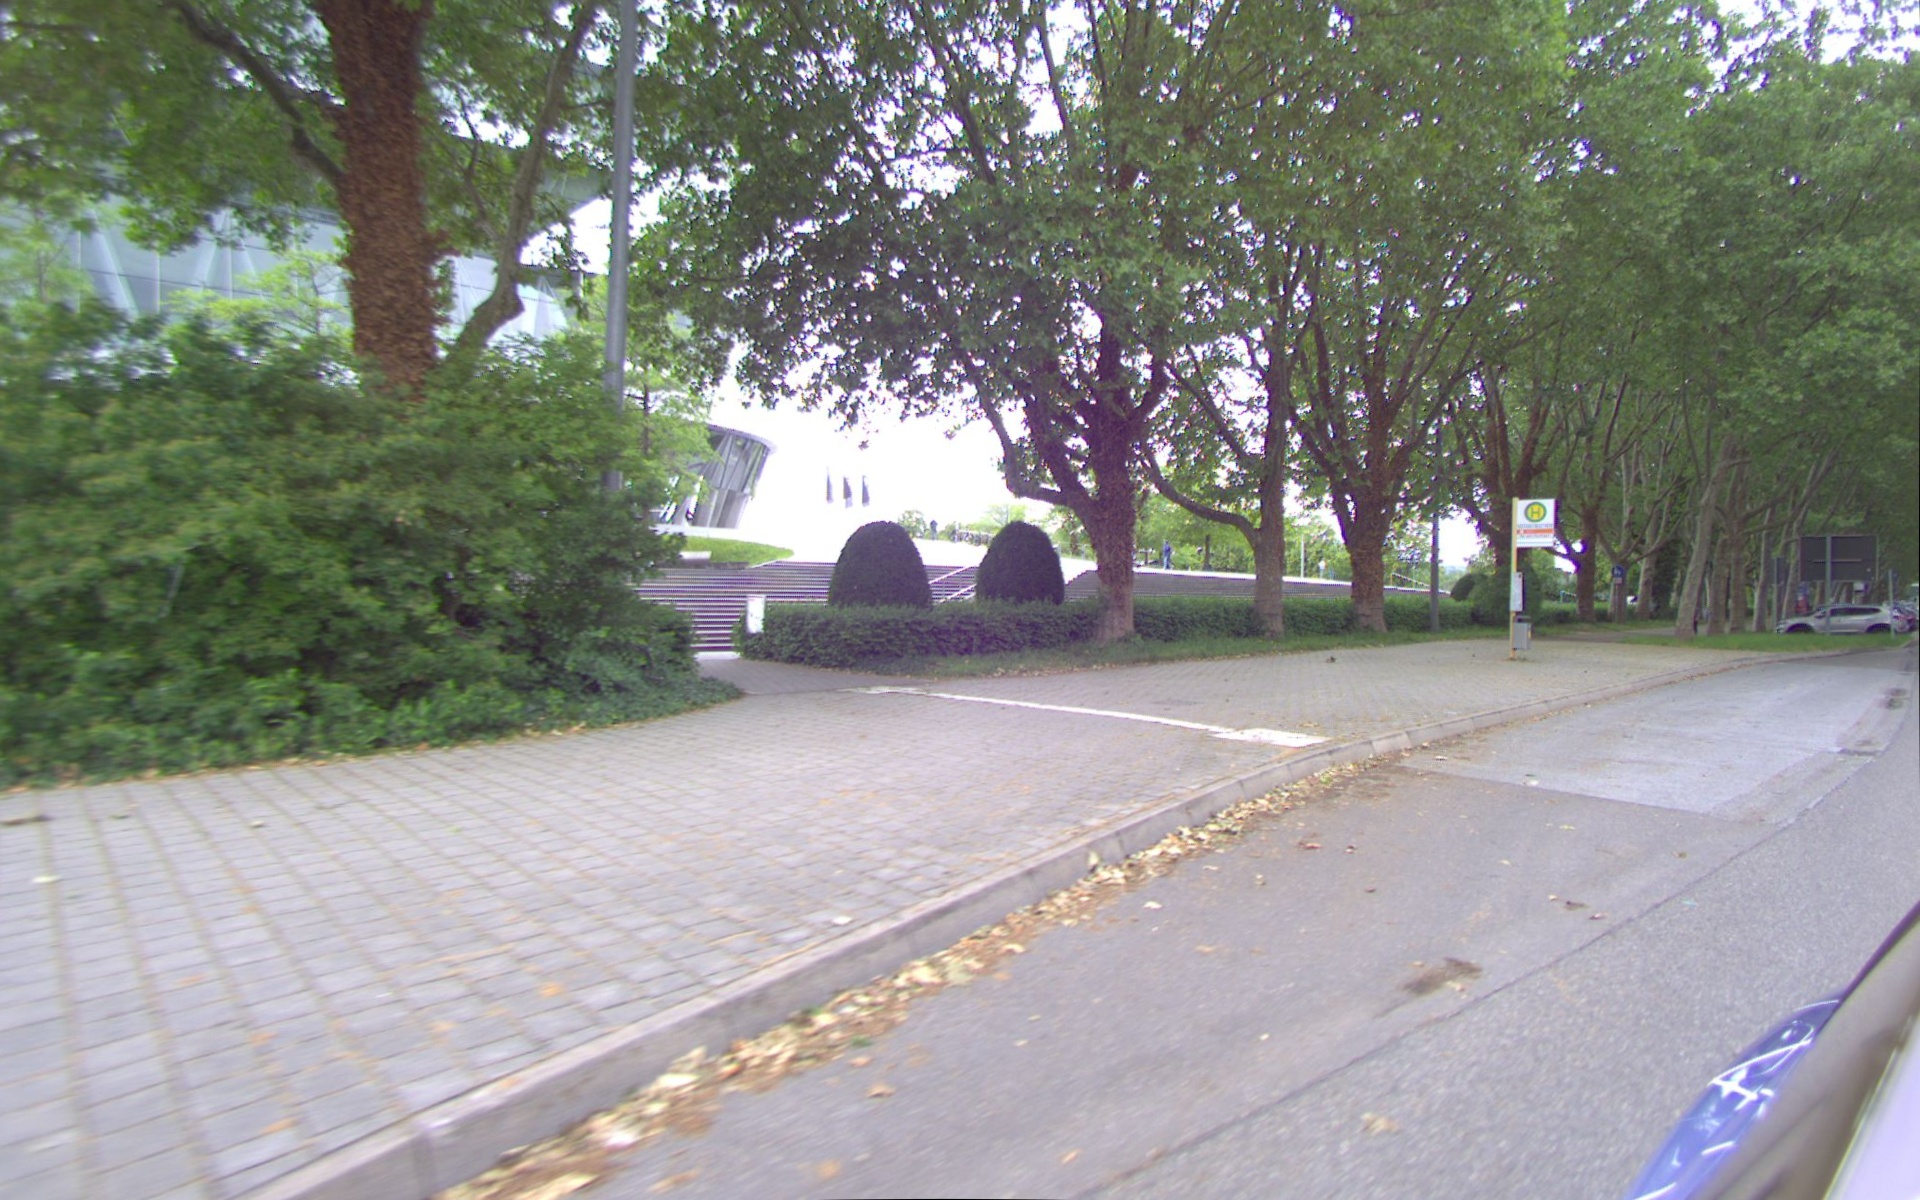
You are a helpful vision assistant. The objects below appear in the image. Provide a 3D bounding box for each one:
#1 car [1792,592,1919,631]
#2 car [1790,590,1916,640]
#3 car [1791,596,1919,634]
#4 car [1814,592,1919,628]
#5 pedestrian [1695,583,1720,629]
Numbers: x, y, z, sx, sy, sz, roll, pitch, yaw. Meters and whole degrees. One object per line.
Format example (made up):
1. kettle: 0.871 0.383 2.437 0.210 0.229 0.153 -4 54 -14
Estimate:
1. car: 39.189 0.507 44.130 1.894 1.654 4.348 1 -1 -44
2. car: 38.872 0.654 44.126 1.967 2.039 3.988 1 -2 -44
3. car: 40.827 0.681 46.137 1.894 1.625 4.348 1 -1 -44
4. car: 47.514 0.506 52.884 4.346 1.783 1.895 1 1 44
5. pedestrian: 33.067 0.260 44.790 0.780 2.039 0.593 0 0 29
